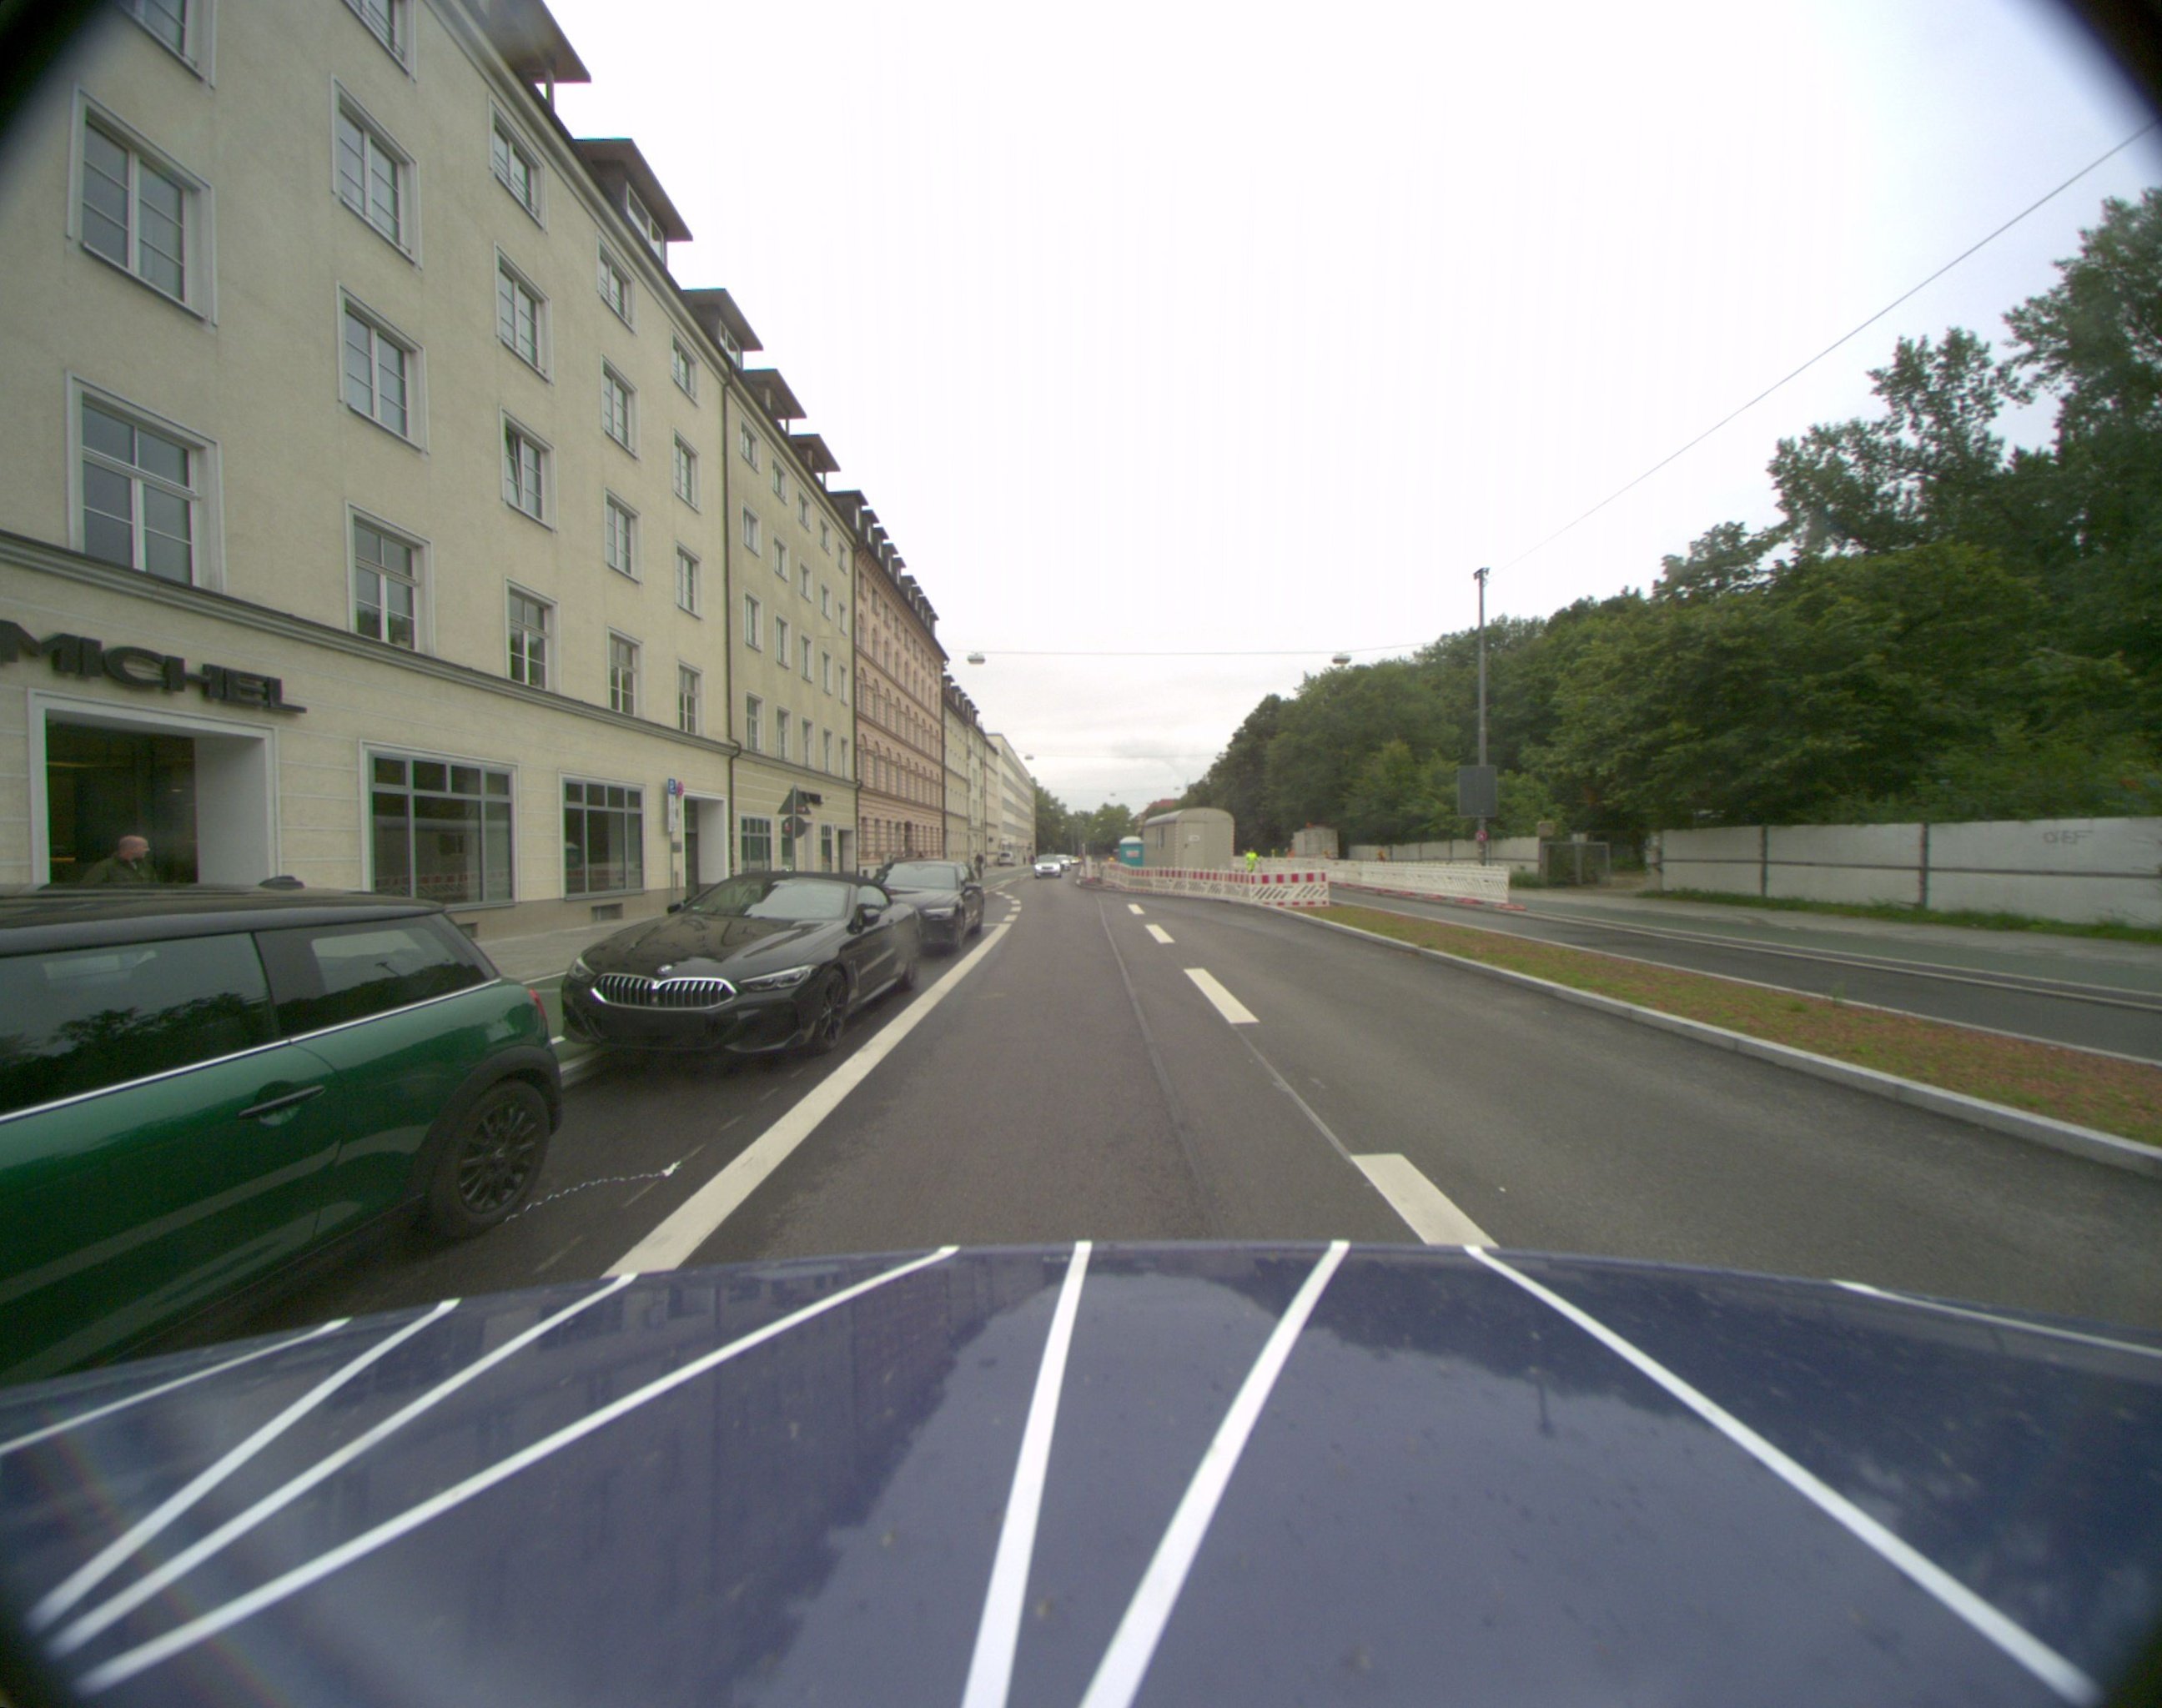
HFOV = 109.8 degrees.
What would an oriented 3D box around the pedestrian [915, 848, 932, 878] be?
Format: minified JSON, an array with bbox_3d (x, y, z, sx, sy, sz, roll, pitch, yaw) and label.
[{"bbox_3d":[-9.453,0.541,45.618,0.795,1.735,0.833,-1,1,1],"label":"pedestrian"}]

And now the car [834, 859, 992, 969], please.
[{"bbox_3d":[-2.738,0.902,13.424,1.813,1.472,4.461,3,0,-1],"label":"car"}]

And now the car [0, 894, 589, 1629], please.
[{"bbox_3d":[-3.256,0.987,1.703,1.679,1.512,3.829,-2,0,2],"label":"car"}]

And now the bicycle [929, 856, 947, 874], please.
[{"bbox_3d":[-10.037,0.766,53.515,0.556,1.170,1.727,0,1,15],"label":"bicycle"}]

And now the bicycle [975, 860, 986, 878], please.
[{"bbox_3d":[-6.298,0.937,47.879,0.632,1.031,2.016,-1,1,-6],"label":"bicycle"}]

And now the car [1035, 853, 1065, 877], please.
[{"bbox_3d":[-2.080,0.685,49.898,1.759,1.461,3.998,-2,0,-4],"label":"car"}]

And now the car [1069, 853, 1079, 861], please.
[{"bbox_3d":[-1.340,0.555,141.974,1.759,1.461,3.999,-2,0,-1],"label":"car"}]

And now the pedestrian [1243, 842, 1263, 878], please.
[{"bbox_3d":[9.269,0.305,40.991,0.890,1.930,0.875,-1,1,-2],"label":"pedestrian"}]

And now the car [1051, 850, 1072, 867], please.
[{"bbox_3d":[-1.796,0.413,68.851,1.759,1.461,3.998,-2,0,-4],"label":"car"}]

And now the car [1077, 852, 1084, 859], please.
[{"bbox_3d":[-0.150,0.320,184.218,1.759,1.461,3.999,-2,0,-1],"label":"car"}]

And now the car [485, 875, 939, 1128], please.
[{"bbox_3d":[-2.796,1.009,7.199,1.830,1.399,4.719,-2,0,2],"label":"car"}]

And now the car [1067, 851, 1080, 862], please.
[{"bbox_3d":[-1.073,0.358,109.882,1.759,1.461,3.999,-2,0,-1],"label":"car"}]

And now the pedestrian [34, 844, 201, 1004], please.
[{"bbox_3d":[-10.629,0.729,8.413,0.860,1.679,0.781,0,1,7],"label":"pedestrian"}]

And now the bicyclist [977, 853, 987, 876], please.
[{"bbox_3d":[-6.233,0.673,47.899,0.632,1.459,0.652,-1,1,-6],"label":"bicyclist"}]

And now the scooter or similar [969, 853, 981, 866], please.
[{"bbox_3d":[-10.013,0.497,71.898,0.552,1.238,1.079,0,1,35],"label":"scooter or similar"}]

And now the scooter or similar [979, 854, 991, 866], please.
[{"bbox_3d":[-9.687,0.585,76.871,1.078,1.185,0.453,-1,1,-29],"label":"scooter or similar"}]

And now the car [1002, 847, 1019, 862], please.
[{"bbox_3d":[-8.747,0.017,94.493,1.766,1.821,3.999,-1,1,0],"label":"car"}]

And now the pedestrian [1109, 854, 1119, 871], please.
[{"bbox_3d":[3.453,0.890,79.443,0.860,1.826,0.874,-1,1,-7],"label":"pedestrian"}]
